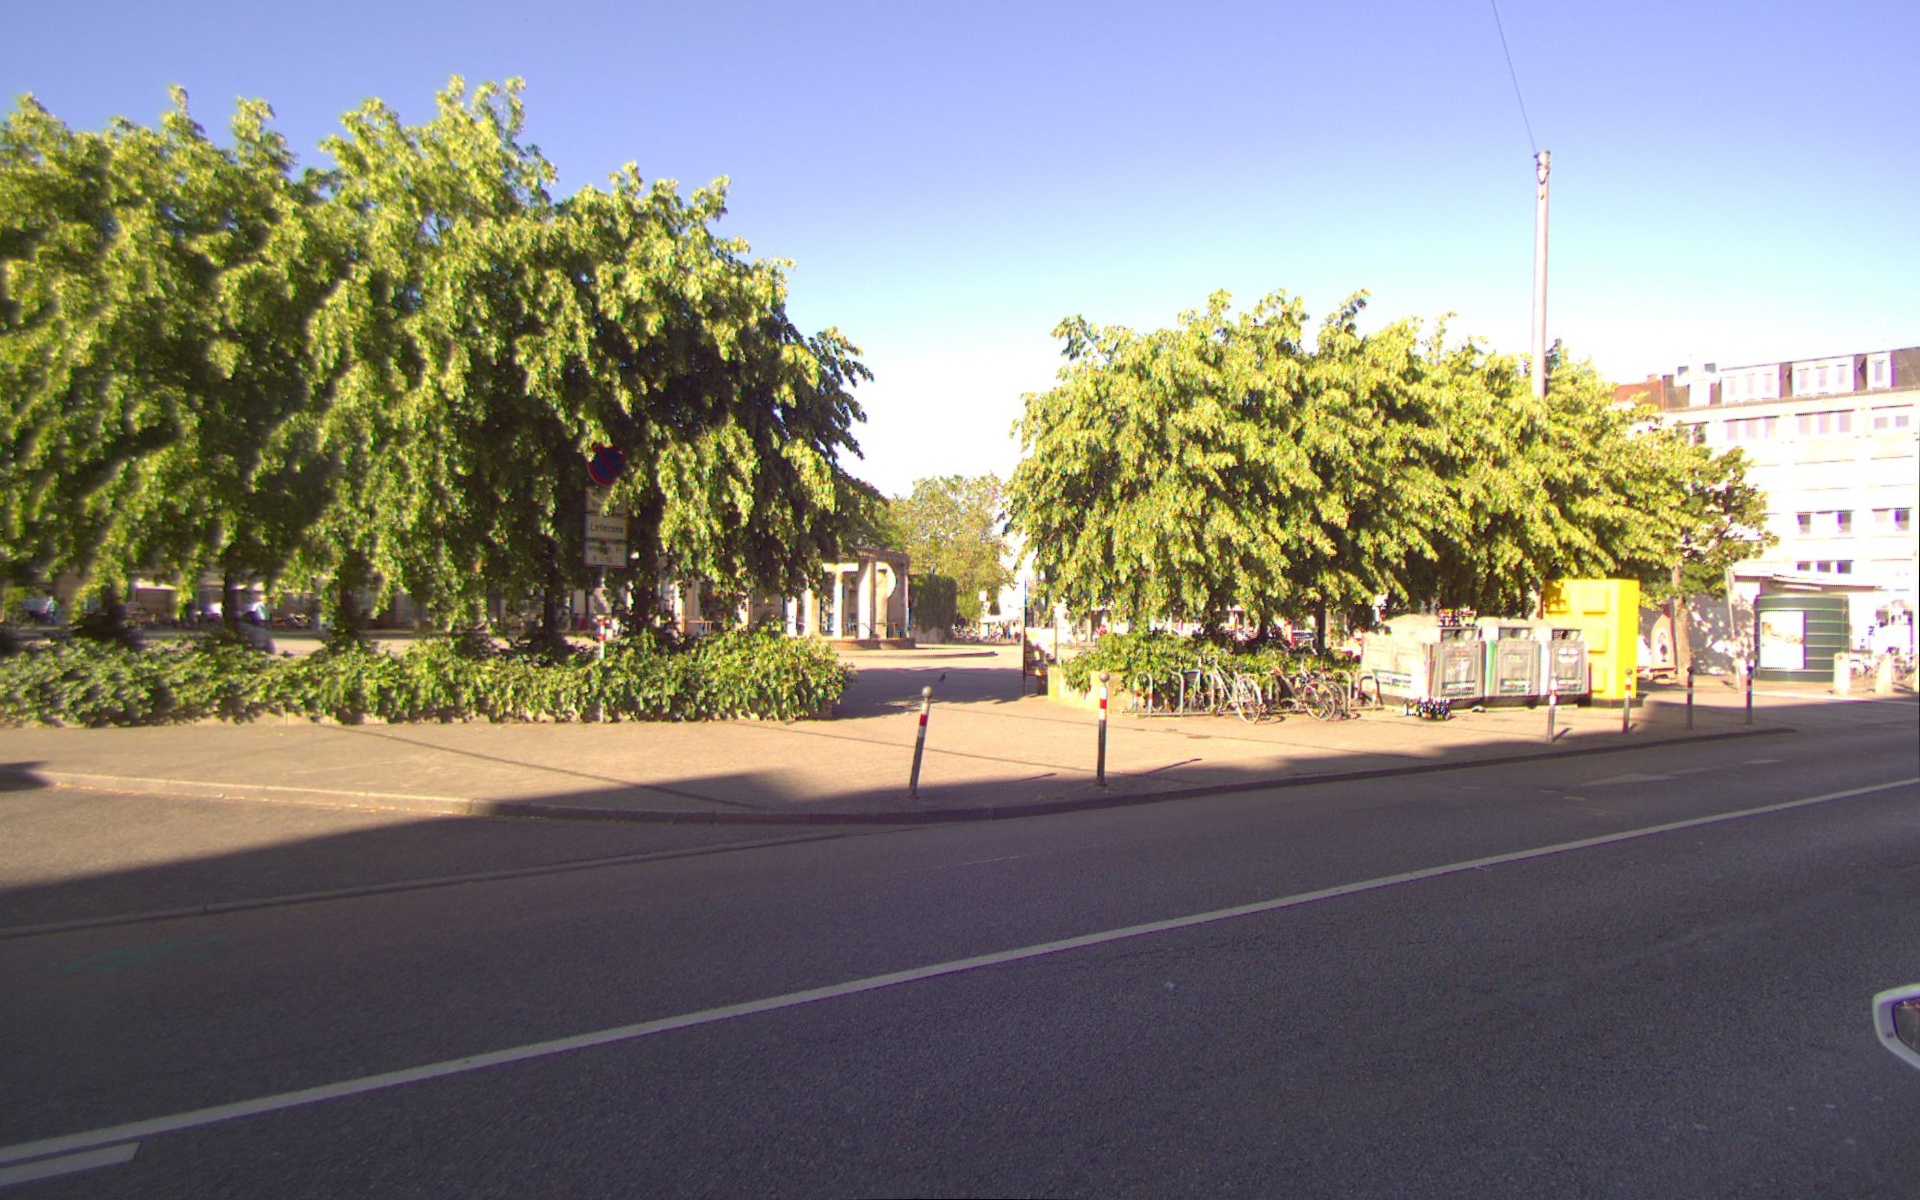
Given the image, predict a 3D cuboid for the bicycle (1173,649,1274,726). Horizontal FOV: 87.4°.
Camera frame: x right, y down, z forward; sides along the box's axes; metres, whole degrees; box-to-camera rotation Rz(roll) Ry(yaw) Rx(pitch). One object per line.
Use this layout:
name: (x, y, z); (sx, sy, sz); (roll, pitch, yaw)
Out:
bicycle: (4.064, 1.328, 15.648); (0.508, 1.029, 1.930); (2, 0, -19)

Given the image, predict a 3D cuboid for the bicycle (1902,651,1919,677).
bicycle: (35.131, 2.335, 36.016); (0.599, 0.946, 1.854); (2, 0, -30)

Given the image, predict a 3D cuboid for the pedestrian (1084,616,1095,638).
pedestrian: (12.829, 2.669, 99.456); (0.860, 2.199, 0.902); (2, 0, -5)

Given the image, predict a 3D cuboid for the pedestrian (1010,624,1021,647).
pedestrian: (4.563, 2.887, 82.362); (0.718, 1.862, 0.697); (2, 0, -5)

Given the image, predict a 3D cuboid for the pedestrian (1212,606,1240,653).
pedestrian: (11.787, 1.295, 44.536); (0.875, 2.040, 0.896); (1, 0, -17)

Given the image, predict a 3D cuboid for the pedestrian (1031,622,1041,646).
pedestrian: (6.368, 2.876, 84.172); (0.628, 1.974, 0.676); (2, 0, -7)

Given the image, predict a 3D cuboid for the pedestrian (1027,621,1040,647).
pedestrian: (5.943, 2.777, 81.552); (0.860, 2.040, 0.902); (2, 0, -5)

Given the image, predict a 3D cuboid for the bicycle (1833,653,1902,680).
bicycle: (30.814, 2.247, 34.120); (0.600, 0.802, 1.634); (2, 0, -33)

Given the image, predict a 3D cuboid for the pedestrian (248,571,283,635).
pedestrian: (-19.180, 0.079, 27.732); (0.599, 1.744, 0.644); (2, 0, 41)

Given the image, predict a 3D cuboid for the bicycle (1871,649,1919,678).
bicycle: (33.177, 2.229, 35.112); (0.599, 0.946, 1.855); (1, 0, -30)

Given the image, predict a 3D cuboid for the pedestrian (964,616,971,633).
pedestrian: (0.916, 2.888, 119.310); (0.629, 1.974, 0.675); (2, 0, -14)

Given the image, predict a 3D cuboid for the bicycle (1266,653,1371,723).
bicycle: (5.820, 1.404, 16.409); (0.508, 0.968, 1.898); (2, 0, -20)

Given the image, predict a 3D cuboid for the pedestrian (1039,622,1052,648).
pedestrian: (6.957, 2.848, 81.626); (0.860, 2.040, 0.902); (2, 0, -5)

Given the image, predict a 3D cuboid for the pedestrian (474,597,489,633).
pedestrian: (-26.964, 0.857, 56.578); (0.669, 1.974, 0.634); (2, 0, -33)

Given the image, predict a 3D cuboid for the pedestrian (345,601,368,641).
pedestrian: (-26.743, 0.919, 44.504); (0.599, 1.744, 0.644); (2, 0, 37)

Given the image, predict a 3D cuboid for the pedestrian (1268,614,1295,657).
pedestrian: (13.091, 1.453, 40.894); (0.774, 1.720, 0.763); (1, 0, -6)

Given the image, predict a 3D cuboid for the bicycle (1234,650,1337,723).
bicycle: (5.238, 1.364, 16.296); (0.508, 1.016, 1.923); (2, 0, -20)

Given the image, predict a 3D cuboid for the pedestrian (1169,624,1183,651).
pedestrian: (14.214, 2.439, 66.147); (0.741, 1.740, 0.854); (1, -1, 4)

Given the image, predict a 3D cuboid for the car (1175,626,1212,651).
car: (14.390, 2.366, 62.003); (1.658, 1.405, 3.575); (1, -1, 5)

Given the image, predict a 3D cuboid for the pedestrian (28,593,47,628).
pedestrian: (-46.760, 0.542, 50.914); (0.600, 1.744, 0.643); (2, 0, 45)

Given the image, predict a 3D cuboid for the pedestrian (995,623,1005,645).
pedestrian: (3.752, 3.198, 94.384); (0.860, 2.040, 0.902); (2, 0, -5)

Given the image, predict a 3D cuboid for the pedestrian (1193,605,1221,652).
pedestrian: (10.851, 1.265, 44.133); (0.875, 2.040, 0.896); (1, 0, -17)

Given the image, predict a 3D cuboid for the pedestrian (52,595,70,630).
pedestrian: (-45.655, 0.624, 51.004); (0.600, 1.744, 0.643); (2, 0, 45)
